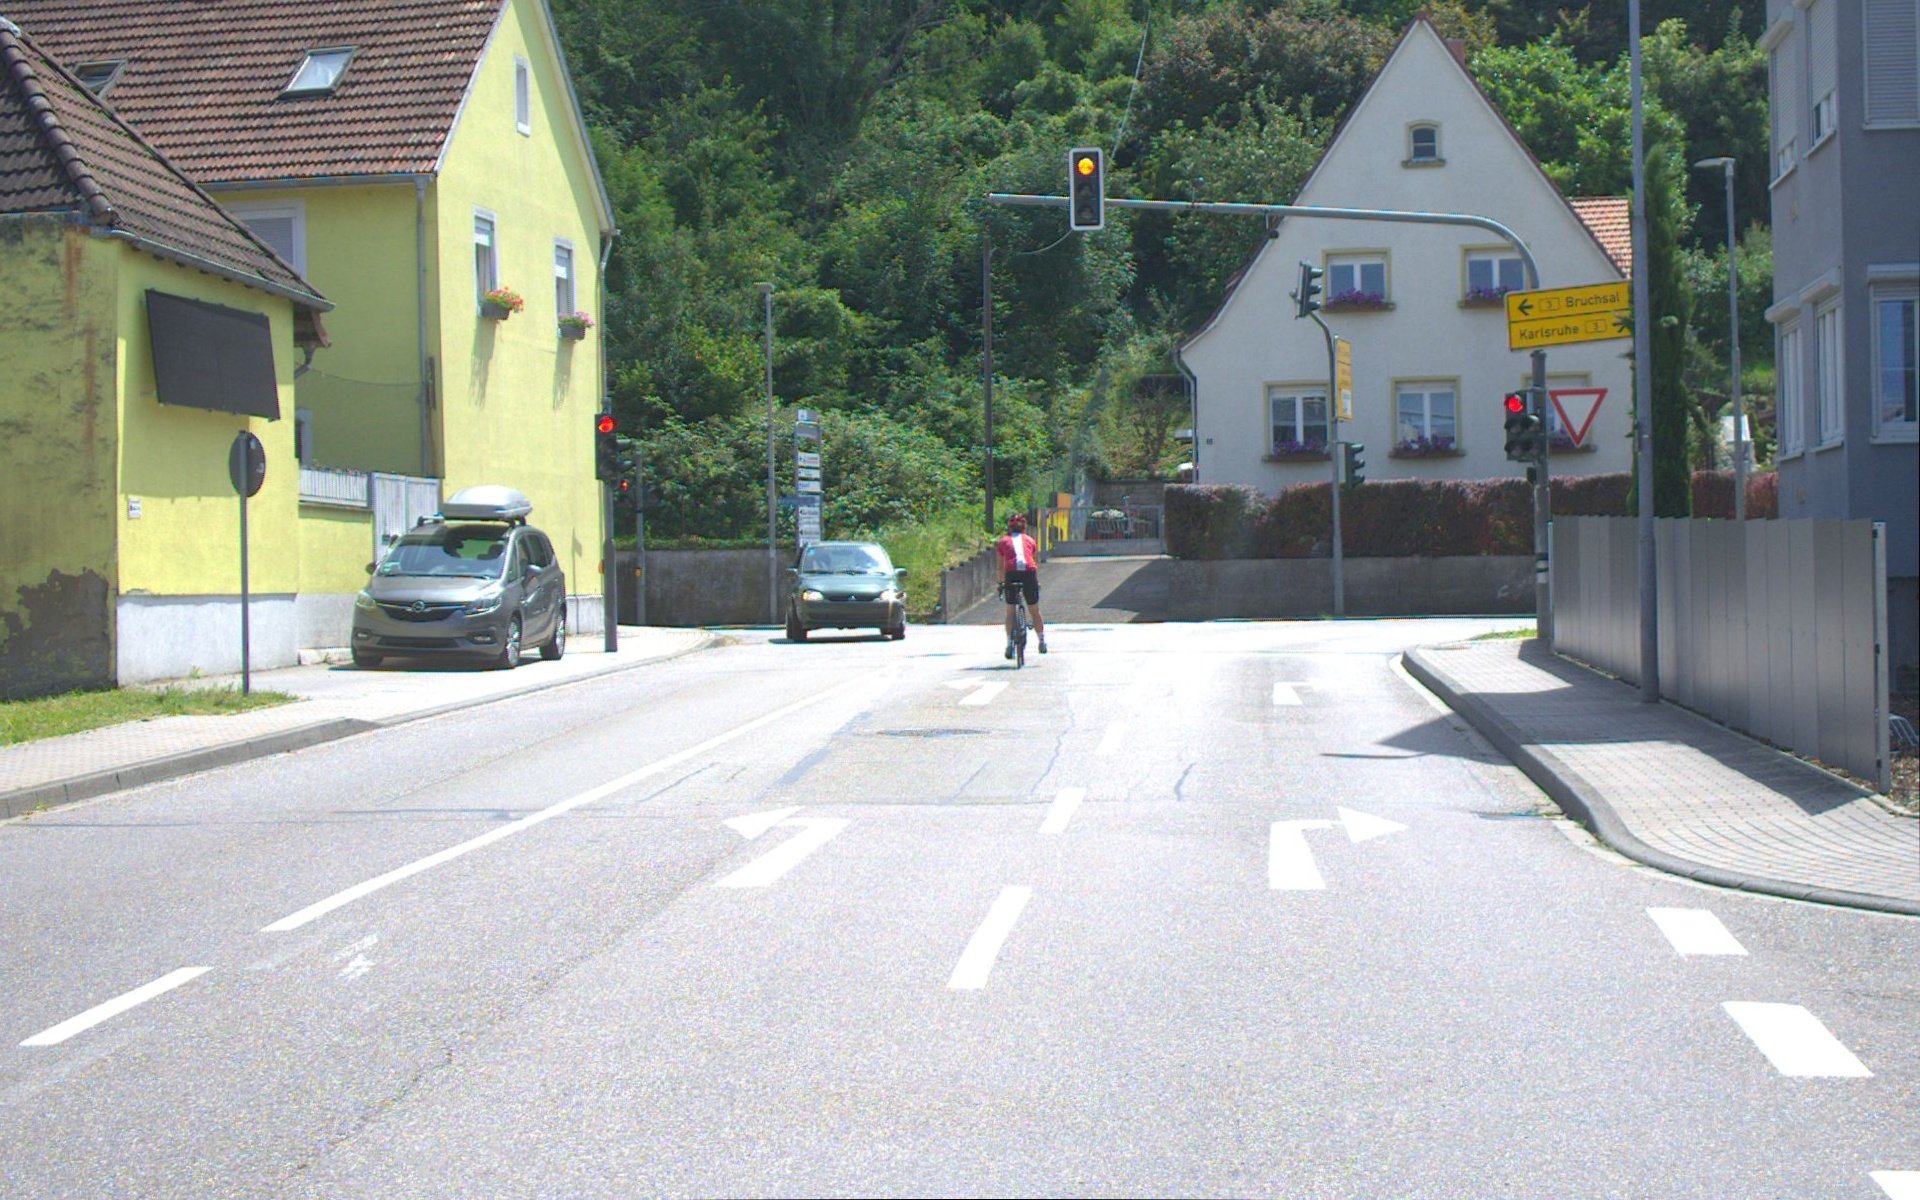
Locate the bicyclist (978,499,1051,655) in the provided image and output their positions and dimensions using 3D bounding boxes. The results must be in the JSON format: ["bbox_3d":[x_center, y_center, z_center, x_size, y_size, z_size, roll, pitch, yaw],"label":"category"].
[{"bbox_3d":[0.594,-0.254,37.144,0.761,1.659,0.868,0,1,3],"label":"bicyclist"}]

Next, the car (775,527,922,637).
[{"bbox_3d":[-1.628,-0.283,48.981,1.780,1.428,3.873,-2,1,-6],"label":"car"}]

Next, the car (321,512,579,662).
[{"bbox_3d":[-5.878,-0.196,40.180,1.994,1.630,4.629,1,1,5],"label":"car"}]

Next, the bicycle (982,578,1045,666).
[{"bbox_3d":[0.588,0.230,37.169,0.630,0.902,1.657,0,1,3],"label":"bicycle"}]
